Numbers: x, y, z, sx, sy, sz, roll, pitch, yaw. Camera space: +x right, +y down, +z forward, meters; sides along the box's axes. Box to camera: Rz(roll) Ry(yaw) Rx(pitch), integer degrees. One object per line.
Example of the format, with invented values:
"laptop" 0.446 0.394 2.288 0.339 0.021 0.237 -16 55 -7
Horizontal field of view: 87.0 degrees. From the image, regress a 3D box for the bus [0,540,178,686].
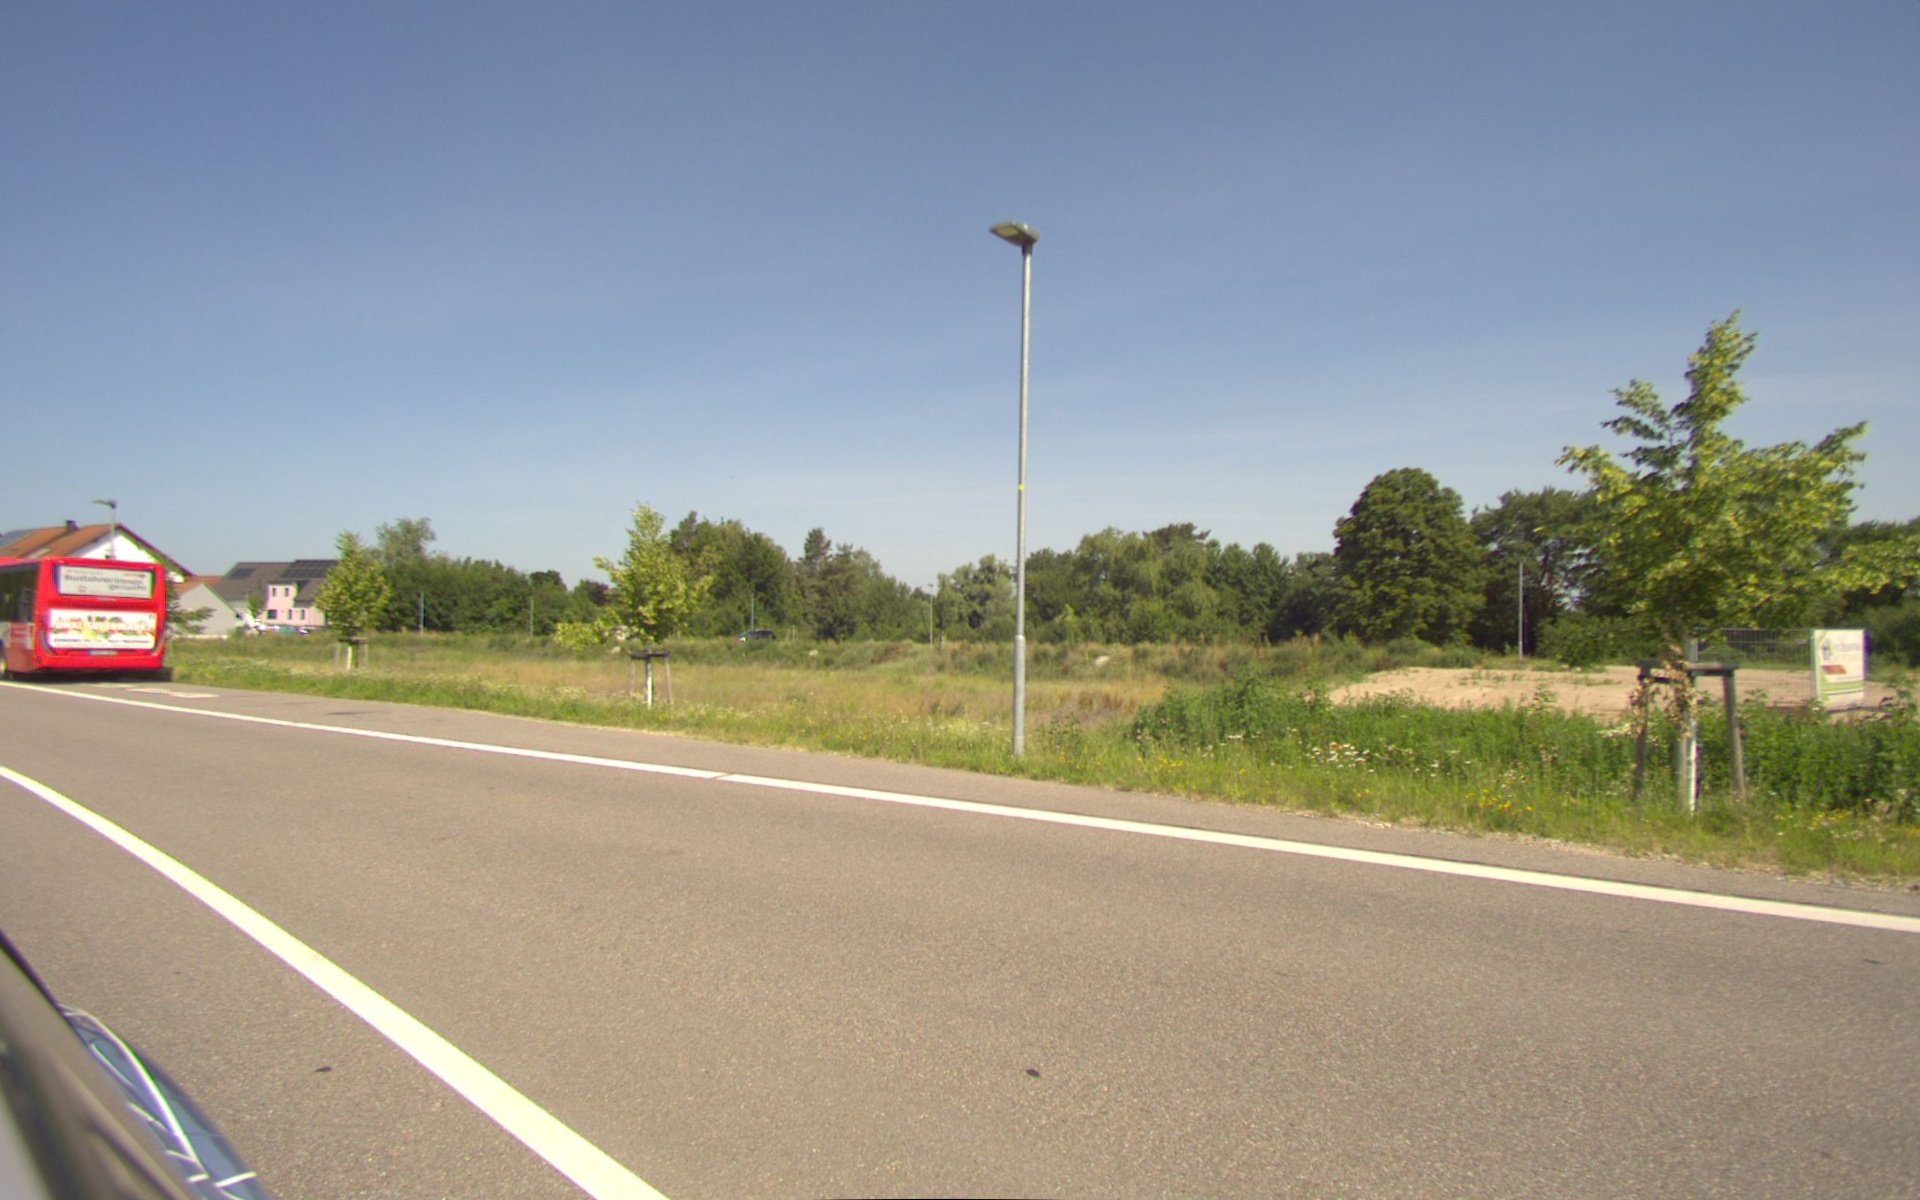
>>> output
"bus" -25.303 0.508 27.638 12.203 3.312 2.769 -2 -4 36
